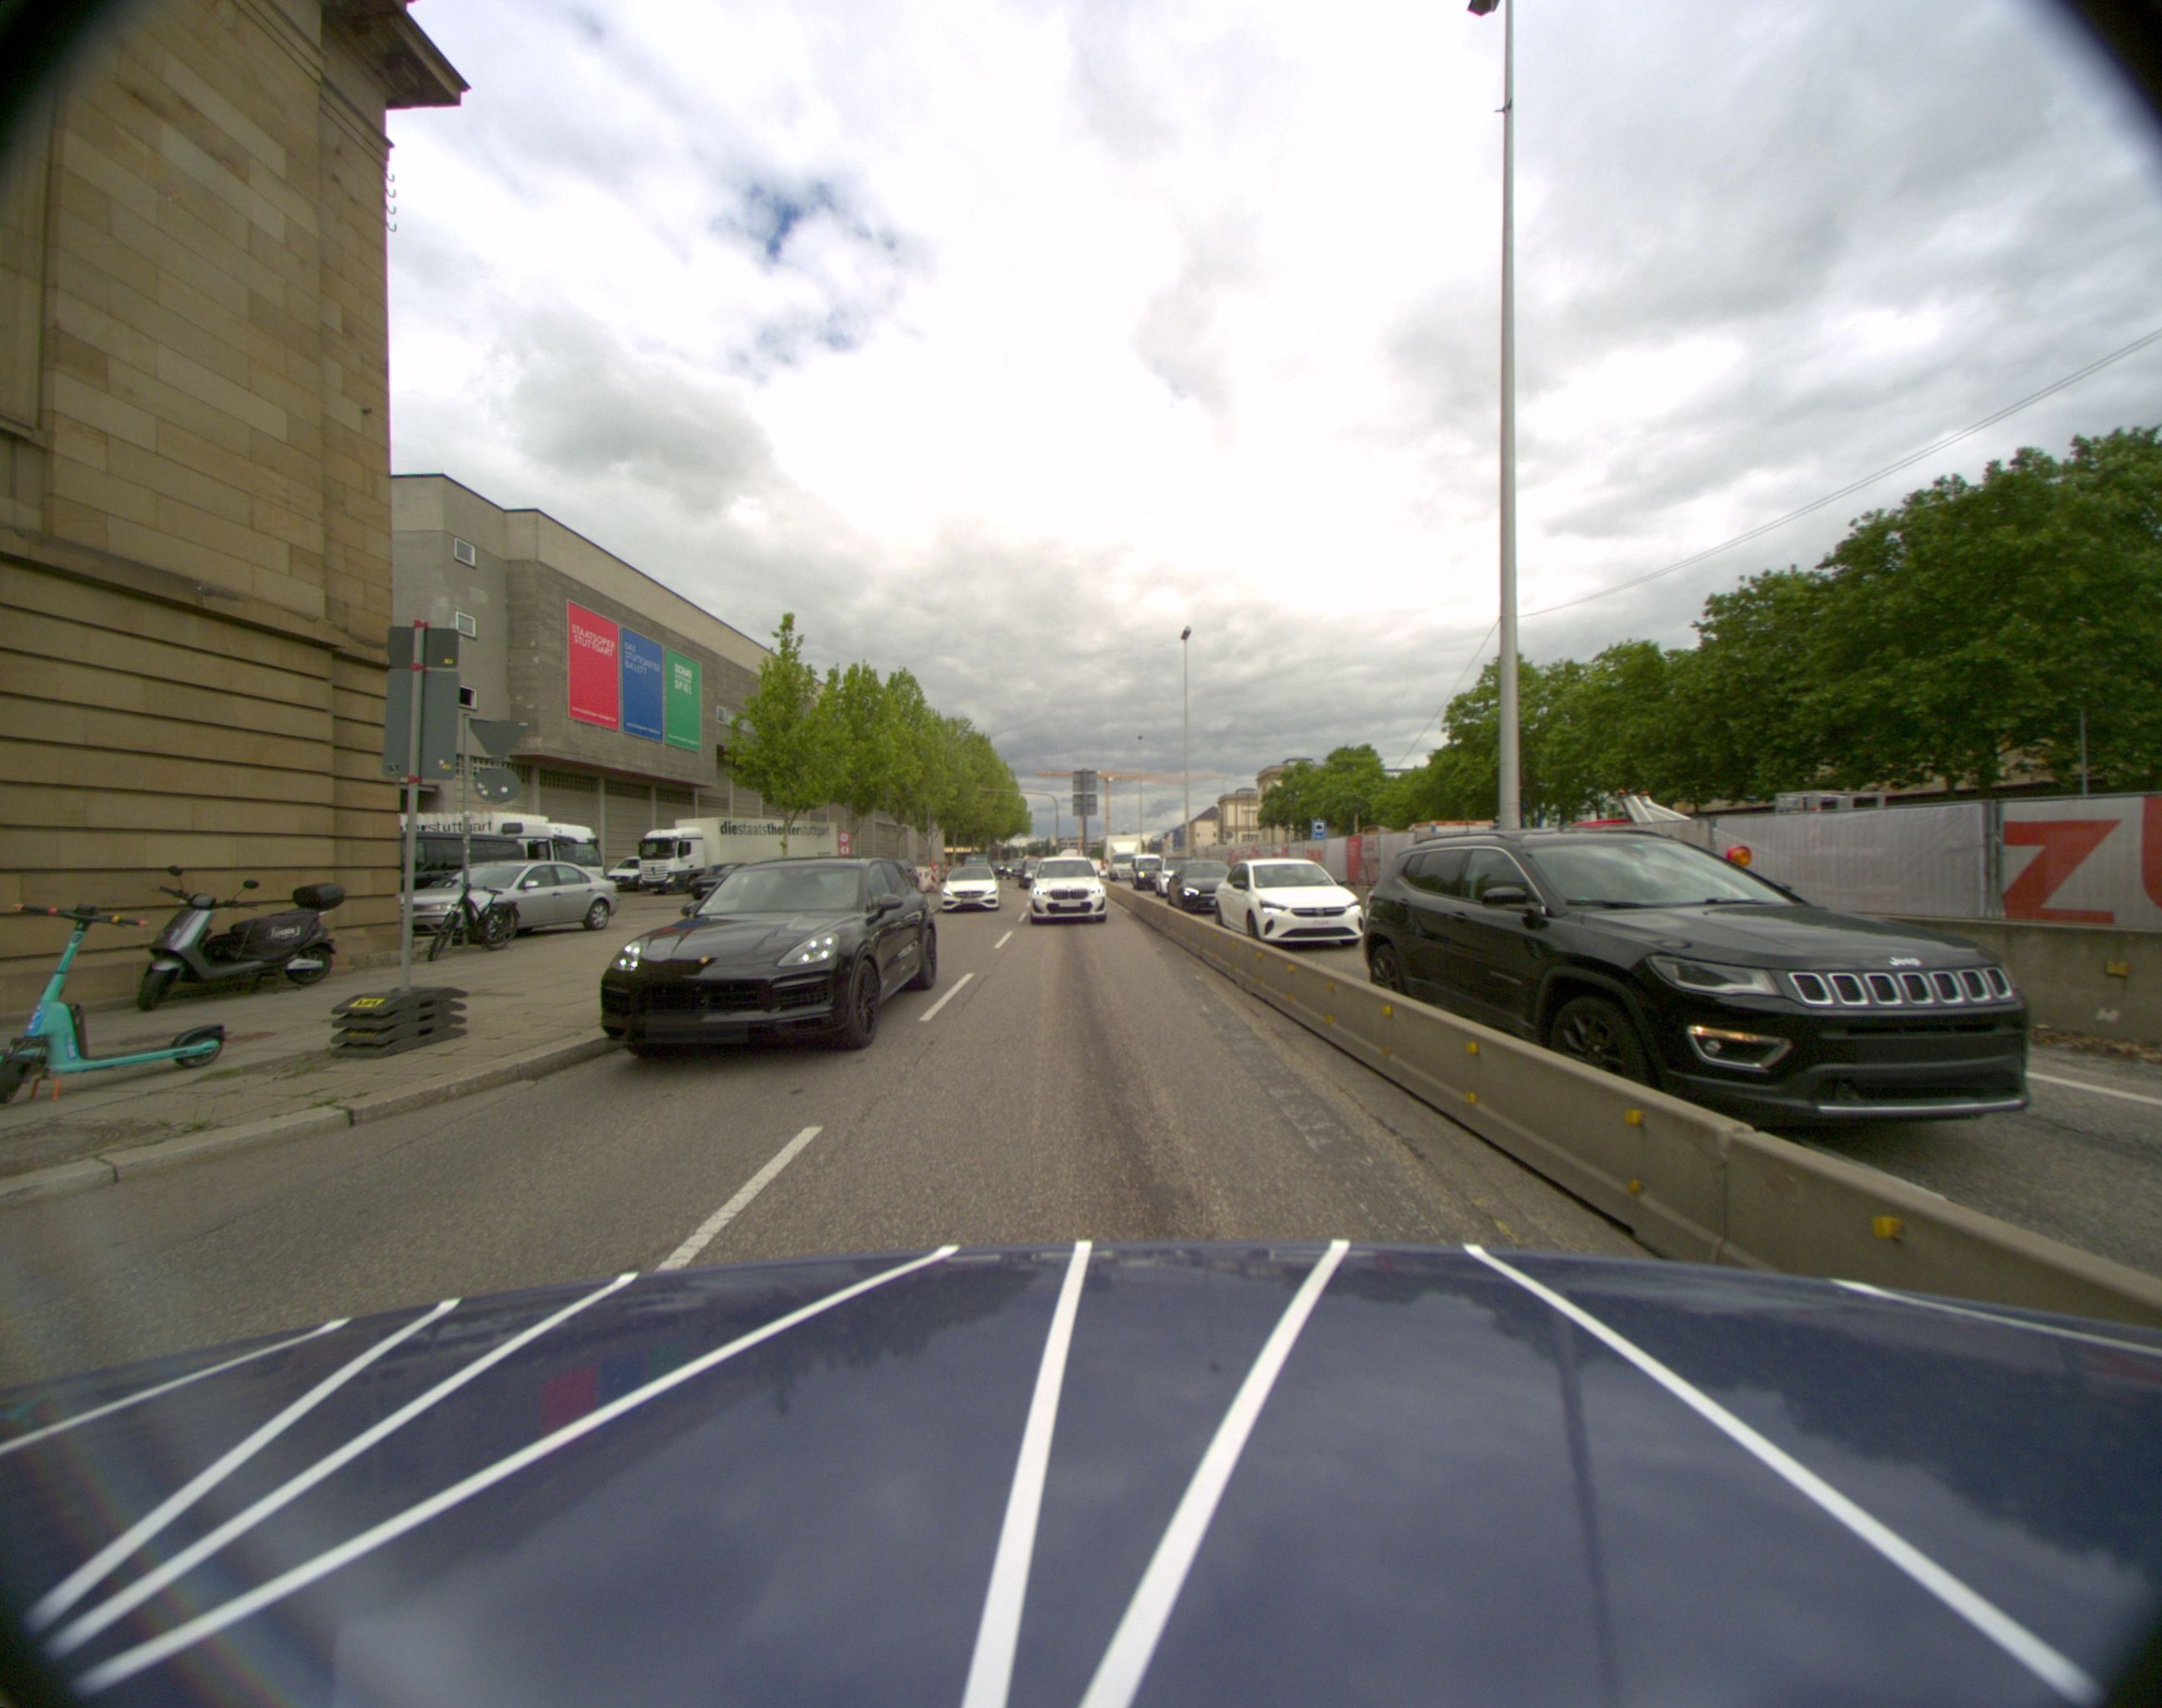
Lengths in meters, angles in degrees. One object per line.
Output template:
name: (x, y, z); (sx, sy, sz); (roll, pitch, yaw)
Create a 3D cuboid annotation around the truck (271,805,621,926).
truck: (-22.864, 0.412, 27.740); (10.377, 4.181, 2.999); (0, 0, 2)

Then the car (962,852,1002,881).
car: (-6.758, 0.816, 52.339); (1.952, 1.914, 4.400); (-1, 0, 2)

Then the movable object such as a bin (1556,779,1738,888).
movable object such as a bin: (12.469, -0.414, 16.997); (1.526, 2.172, 3.292); (-1, 0, -2)

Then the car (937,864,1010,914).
car: (-3.462, 1.085, 25.097); (1.935, 1.368, 3.999); (-2, 0, -2)

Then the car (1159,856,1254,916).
car: (3.406, 0.821, 21.423); (1.859, 1.407, 4.565); (-2, 0, 0)

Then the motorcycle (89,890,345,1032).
motorcycle: (-9.072, 1.056, 8.115); (0.456, 1.235, 1.923); (0, 0, 3)

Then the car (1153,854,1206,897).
car: (3.774, 0.783, 29.507); (1.634, 1.546, 3.002); (-2, 0, 0)

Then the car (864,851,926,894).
car: (-8.183, 0.793, 33.779); (1.809, 1.728, 4.485); (-2, 0, -3)

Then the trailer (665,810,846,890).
trailer: (-19.448, -0.331, 47.304); (3.154, 4.077, 13.980); (-3, 1, 9)

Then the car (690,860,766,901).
car: (-16.266, 1.168, 35.198); (1.719, 1.679, 3.761); (-2, 0, 0)

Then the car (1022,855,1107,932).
car: (-0.464, 0.885, 19.504); (1.856, 1.618, 4.905); (-2, 1, -2)

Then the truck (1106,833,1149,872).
truck: (3.474, -0.108, 58.408); (2.978, 2.757, 7.255); (-1, 0, 2)

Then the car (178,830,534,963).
car: (-13.232, 0.692, 14.472); (1.953, 2.056, 4.916); (-2, 0, 1)

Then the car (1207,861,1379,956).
car: (3.491, 0.836, 13.293); (1.731, 1.288, 3.934); (-2, 1, -2)

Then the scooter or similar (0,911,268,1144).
scooter or similar: (-6.466, 1.069, 5.133); (0.380, 1.254, 1.403); (-1, 0, 2)

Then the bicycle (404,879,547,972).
bicycle: (-9.195, 1.036, 11.653); (0.610, 1.217, 1.962); (2, 0, -1)

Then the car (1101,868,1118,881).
car: (3.879, 2.741, 103.236); (1.873, 1.499, 3.998); (-3, 1, -4)

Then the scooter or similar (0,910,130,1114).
scooter or similar: (-7.349, 1.071, 5.125); (0.453, 1.246, 1.367); (-1, 2, -18)

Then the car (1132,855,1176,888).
car: (3.452, 0.776, 36.491); (1.651, 1.430, 3.935); (-2, 0, 0)

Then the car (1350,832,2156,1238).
car: (3.529, 0.727, 5.164); (1.781, 1.611, 4.045); (-2, 1, -2)

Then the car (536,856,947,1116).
car: (-2.761, 0.935, 7.436); (1.907, 1.648, 4.201); (-5, 0, 2)

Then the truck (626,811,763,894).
truck: (-20.539, -0.109, 40.871); (3.138, 4.061, 6.577); (-2, 1, 9)

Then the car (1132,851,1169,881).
car: (4.162, 0.692, 46.175); (1.842, 1.751, 4.480); (-1, 0, 0)

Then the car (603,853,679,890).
car: (-24.234, 0.921, 42.031); (1.558, 1.871, 4.001); (-2, 0, 5)

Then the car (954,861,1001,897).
car: (-4.575, 1.058, 33.913); (1.612, 1.464, 3.622); (-1, 0, -1)

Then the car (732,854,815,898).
car: (-14.062, 0.953, 35.037); (1.809, 1.773, 4.621); (-4, 0, 0)

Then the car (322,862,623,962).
car: (-10.761, 0.922, 13.999); (1.782, 1.460, 4.575); (-2, 0, 1)

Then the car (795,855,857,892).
car: (-11.603, 0.858, 34.752); (1.584, 1.521, 3.503); (-2, 0, 0)

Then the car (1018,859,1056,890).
car: (-2.244, 1.001, 39.342); (1.802, 1.429, 4.019); (-2, 0, -2)

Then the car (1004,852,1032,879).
car: (-4.935, 0.870, 59.890); (1.999, 2.002, 3.998); (-2, 0, -4)
